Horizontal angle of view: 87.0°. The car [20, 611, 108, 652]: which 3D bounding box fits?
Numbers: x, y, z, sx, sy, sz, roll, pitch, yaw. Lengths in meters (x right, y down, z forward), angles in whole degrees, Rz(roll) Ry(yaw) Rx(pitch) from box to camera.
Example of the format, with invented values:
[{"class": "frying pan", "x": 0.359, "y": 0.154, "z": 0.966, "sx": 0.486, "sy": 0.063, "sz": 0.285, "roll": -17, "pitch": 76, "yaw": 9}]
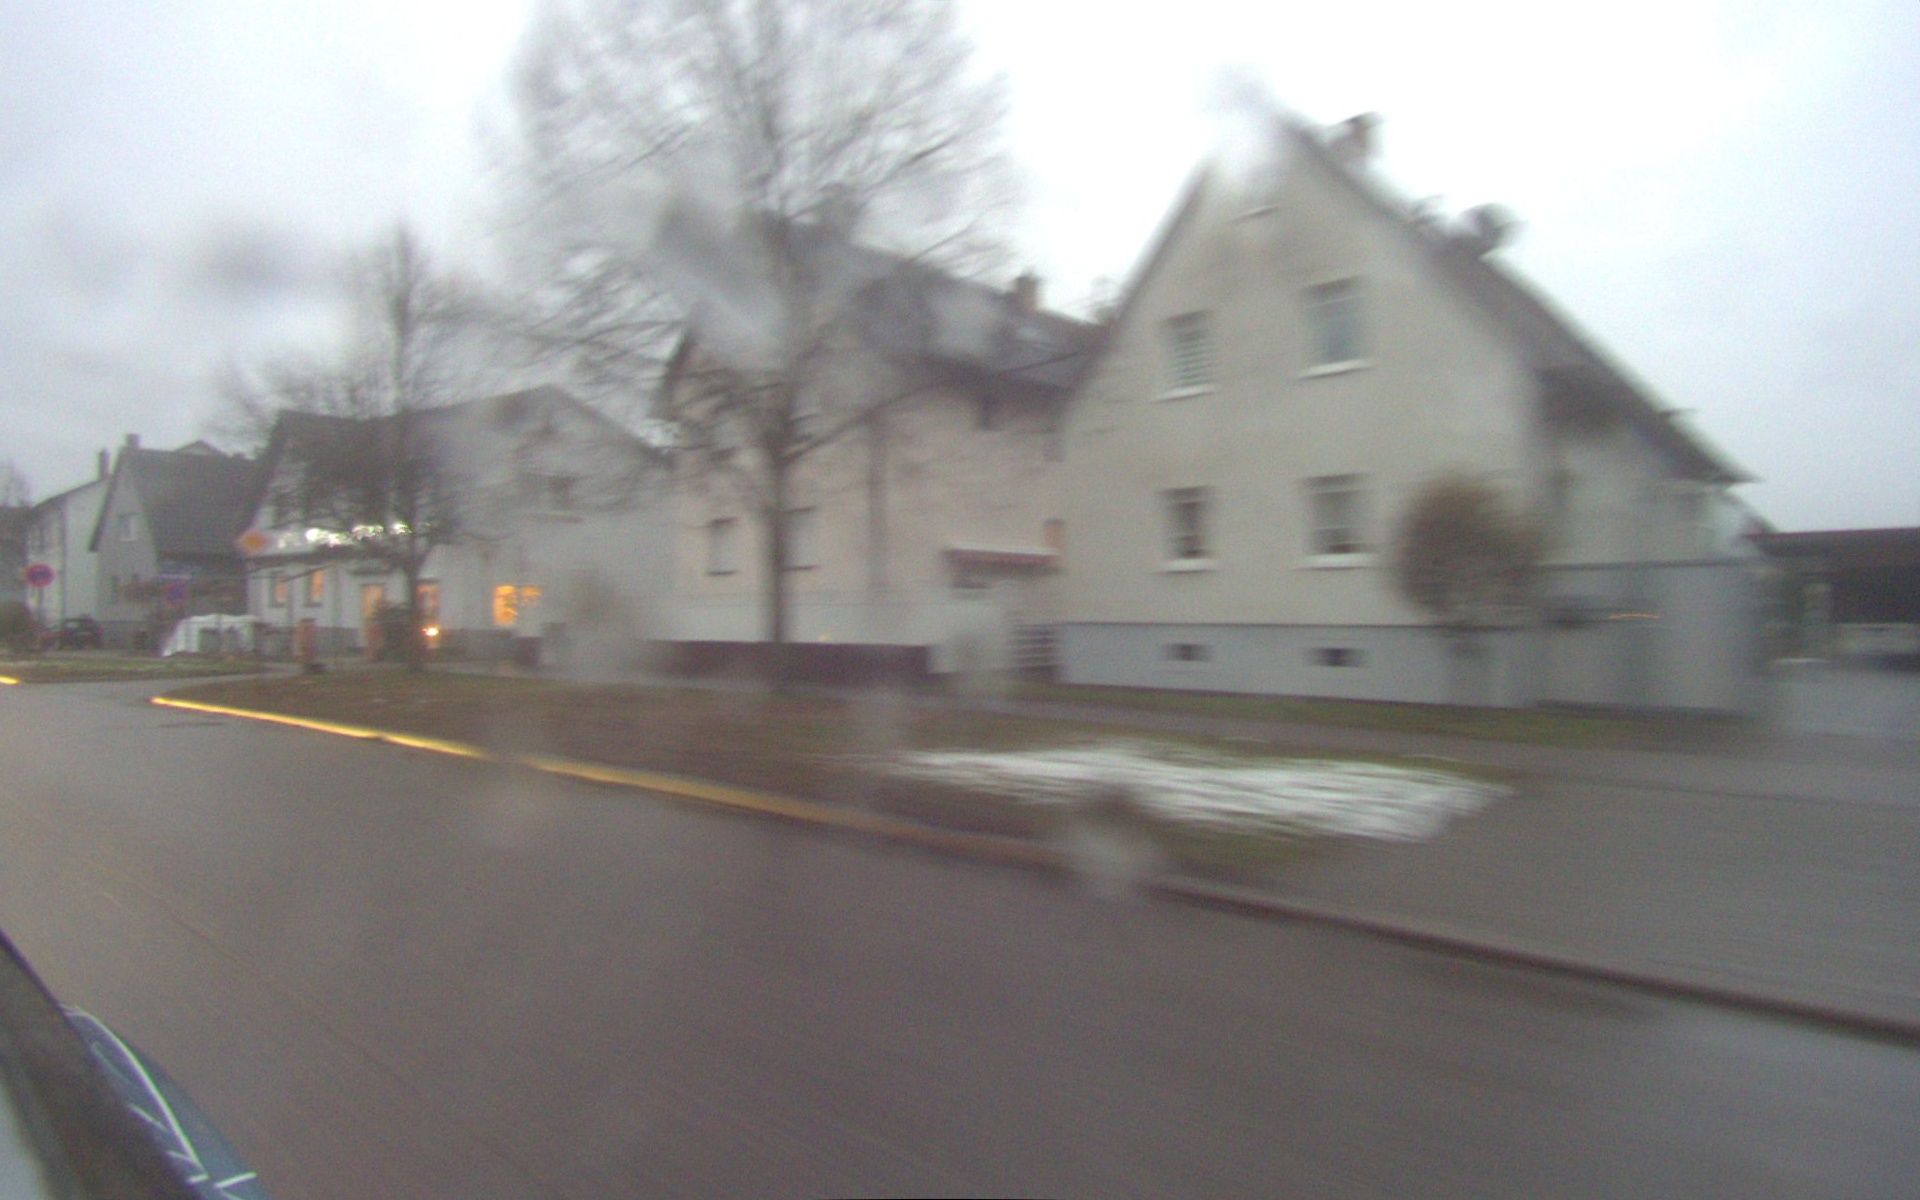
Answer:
[{"class": "car", "x": -40.195, "y": 1.394, "z": 45.384, "sx": 4.558, "sy": 1.769, "sz": 1.976, "roll": -1, "pitch": -1, "yaw": 36}]
